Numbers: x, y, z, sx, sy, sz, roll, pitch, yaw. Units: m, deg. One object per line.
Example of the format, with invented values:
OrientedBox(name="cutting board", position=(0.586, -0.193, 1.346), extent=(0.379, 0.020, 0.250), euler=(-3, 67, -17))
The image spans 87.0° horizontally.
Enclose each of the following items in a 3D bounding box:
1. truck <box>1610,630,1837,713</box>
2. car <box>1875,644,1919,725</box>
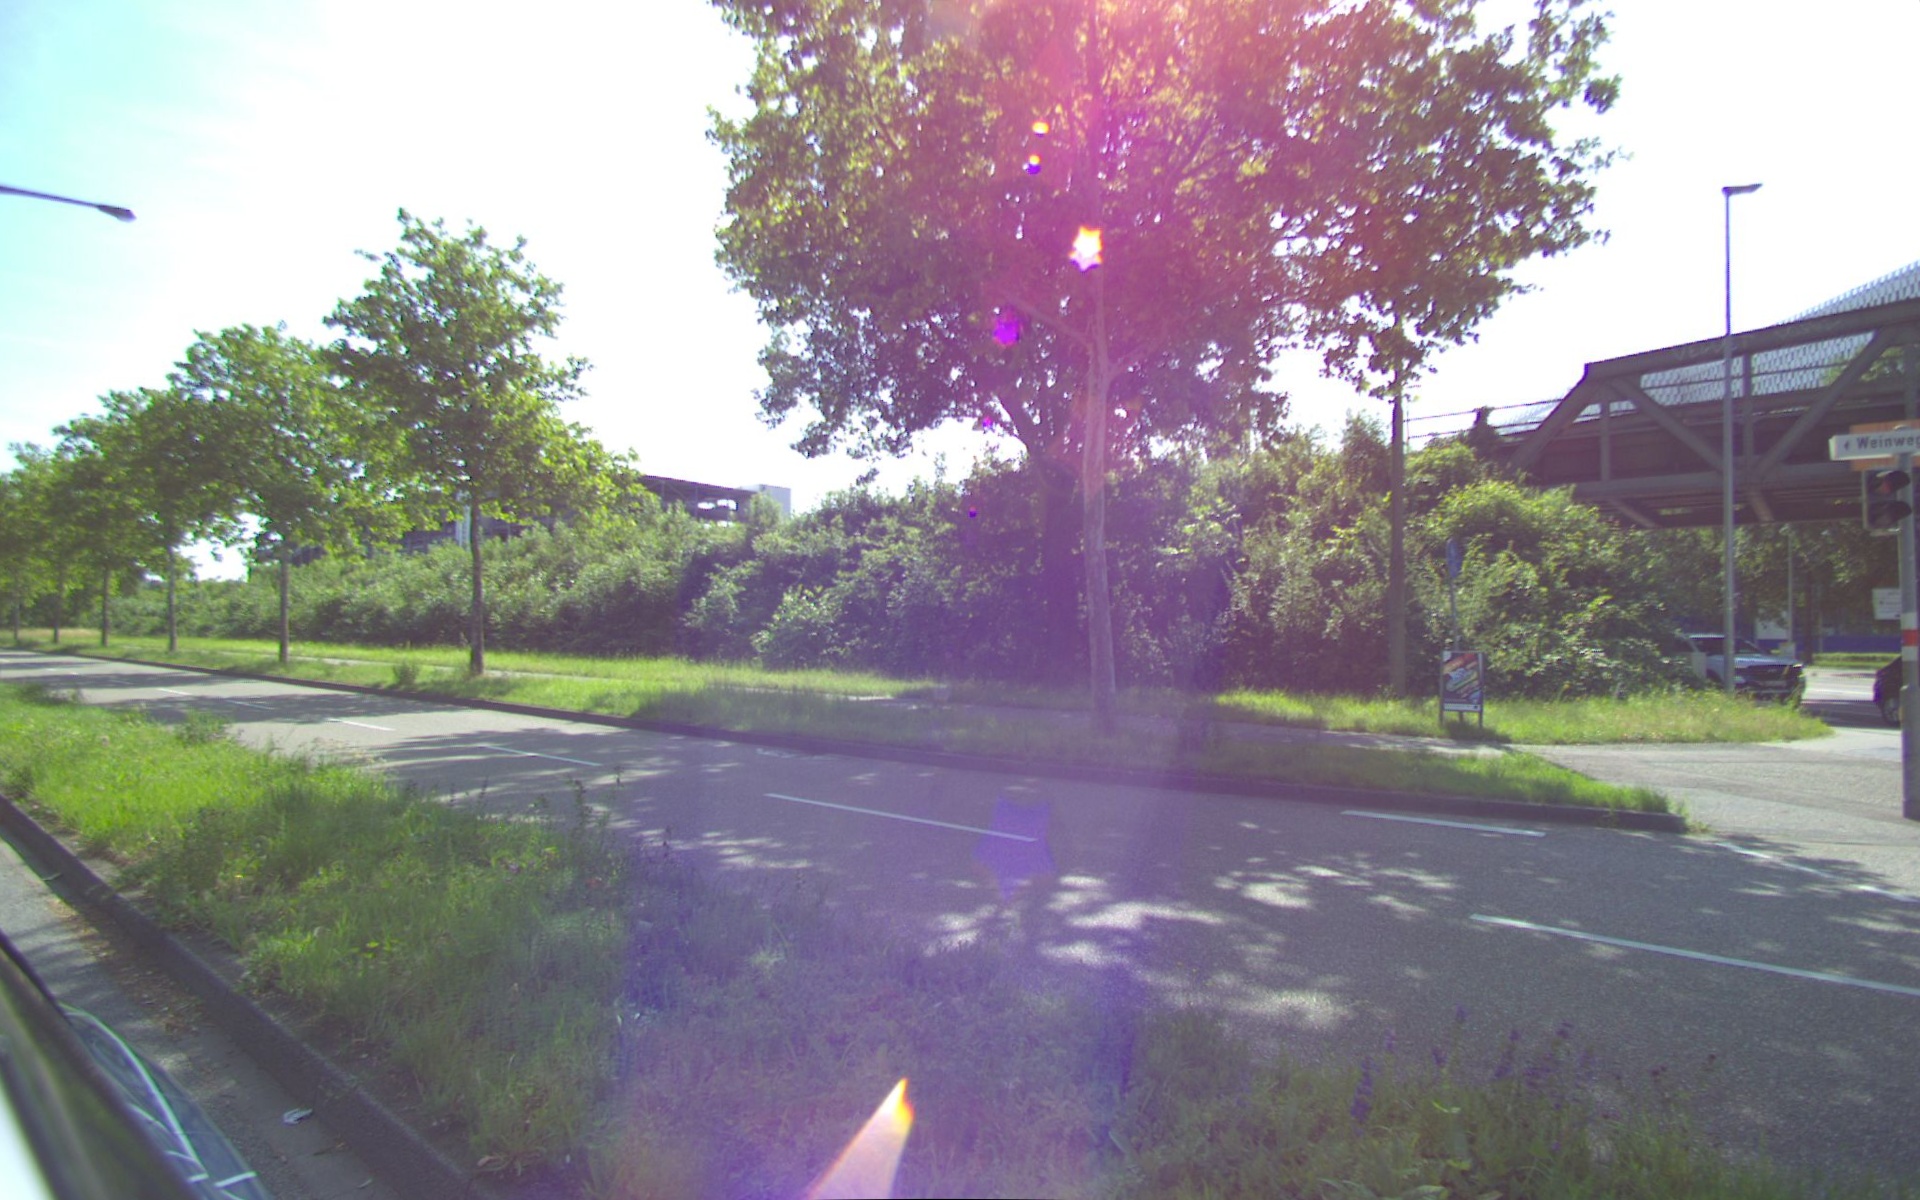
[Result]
OrientedBox(name="truck", position=(19.140, 1.745, 25.787), extent=(2.007, 1.833, 5.316), euler=(-2, -2, 5))
OrientedBox(name="car", position=(18.434, 1.516, 17.515), extent=(1.800, 1.492, 3.937), euler=(0, -2, 5))
